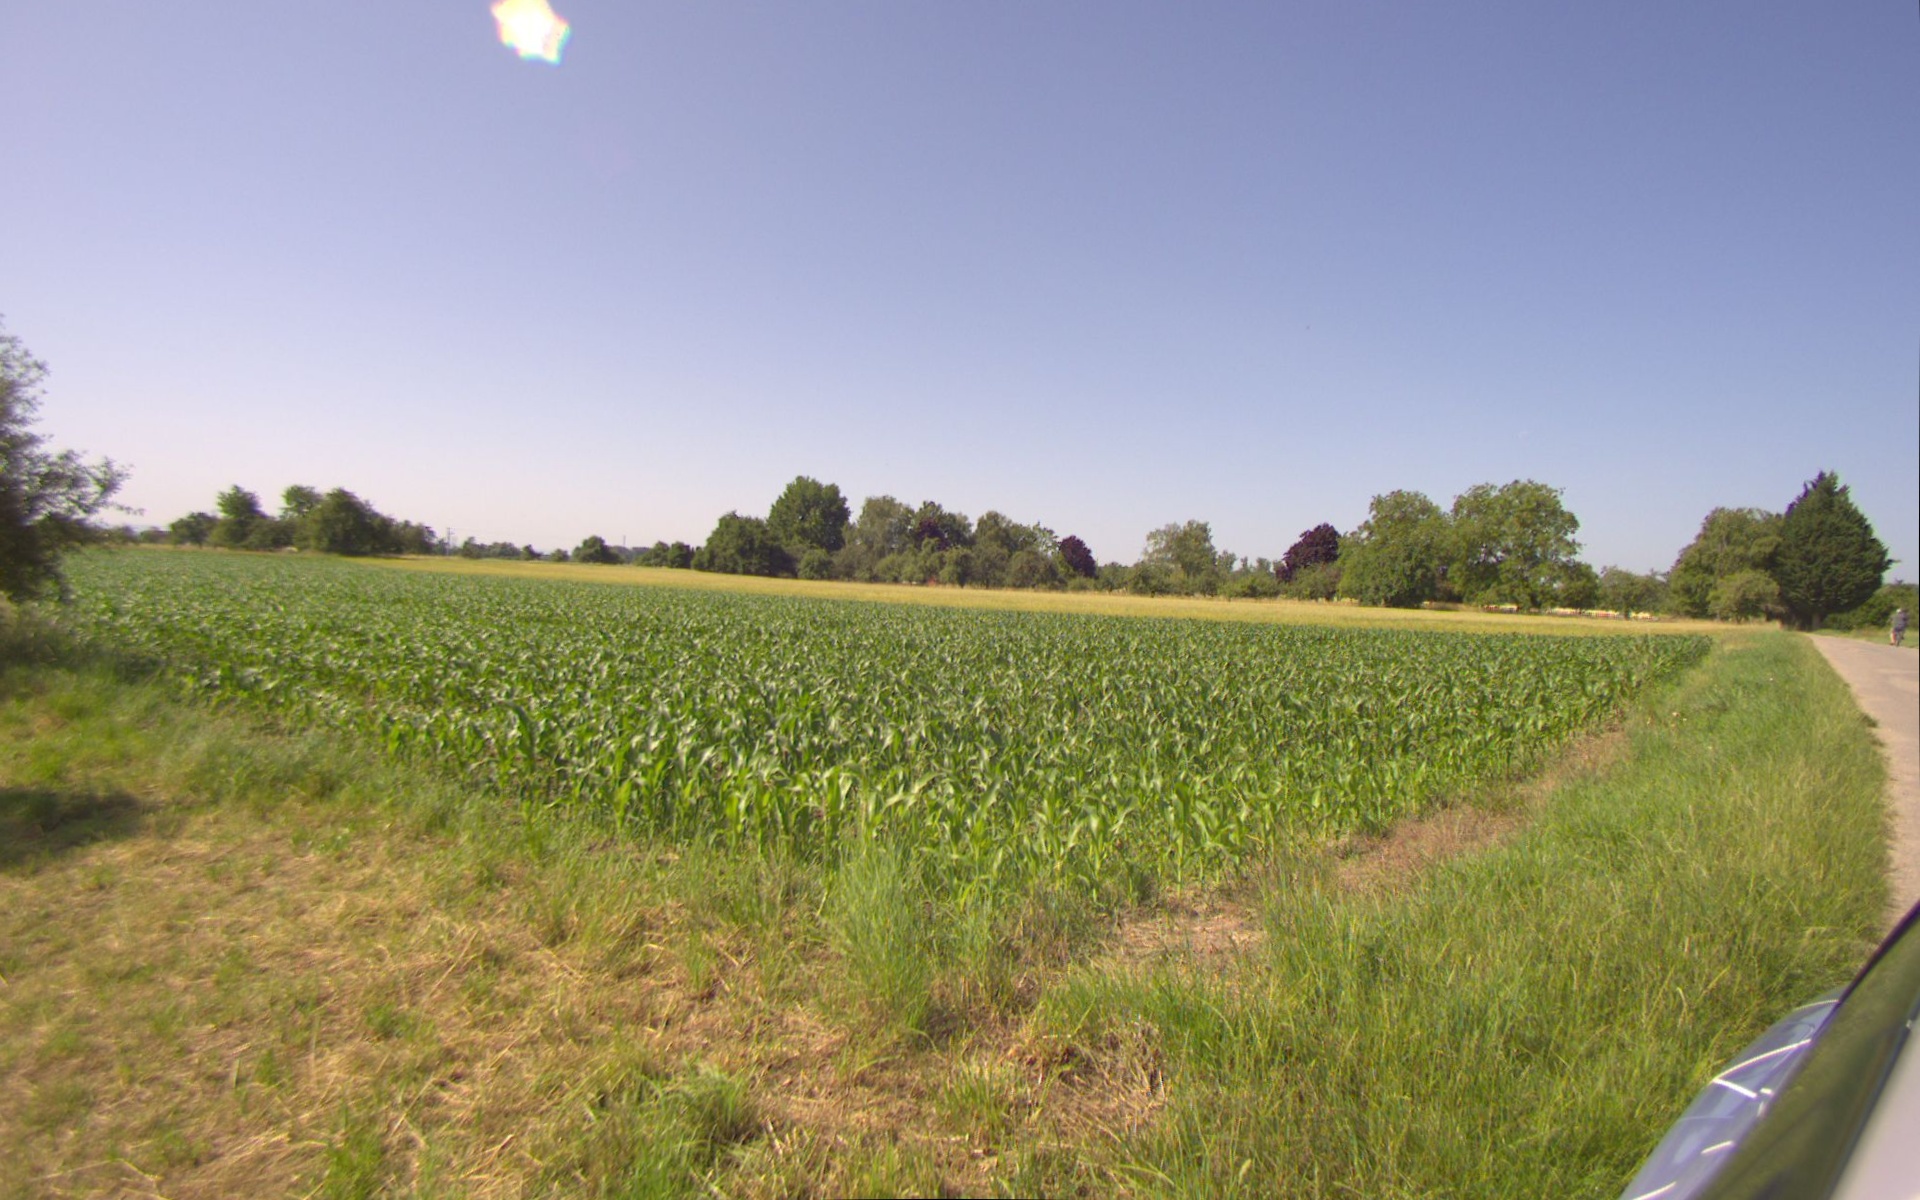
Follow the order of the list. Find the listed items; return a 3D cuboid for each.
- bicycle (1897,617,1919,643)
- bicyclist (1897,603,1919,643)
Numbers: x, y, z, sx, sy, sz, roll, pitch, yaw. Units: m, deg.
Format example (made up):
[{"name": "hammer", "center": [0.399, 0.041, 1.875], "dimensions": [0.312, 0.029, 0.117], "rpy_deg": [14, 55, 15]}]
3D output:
[{"name": "bicycle", "center": [45.015, 1.392, 47.951], "dimensions": [1.876, 1.141, 0.752], "rpy_deg": [1, 3, -44]}, {"name": "bicyclist", "center": [45.027, 1.067, 47.941], "dimensions": [0.705, 1.813, 0.752], "rpy_deg": [1, 3, -43]}]
